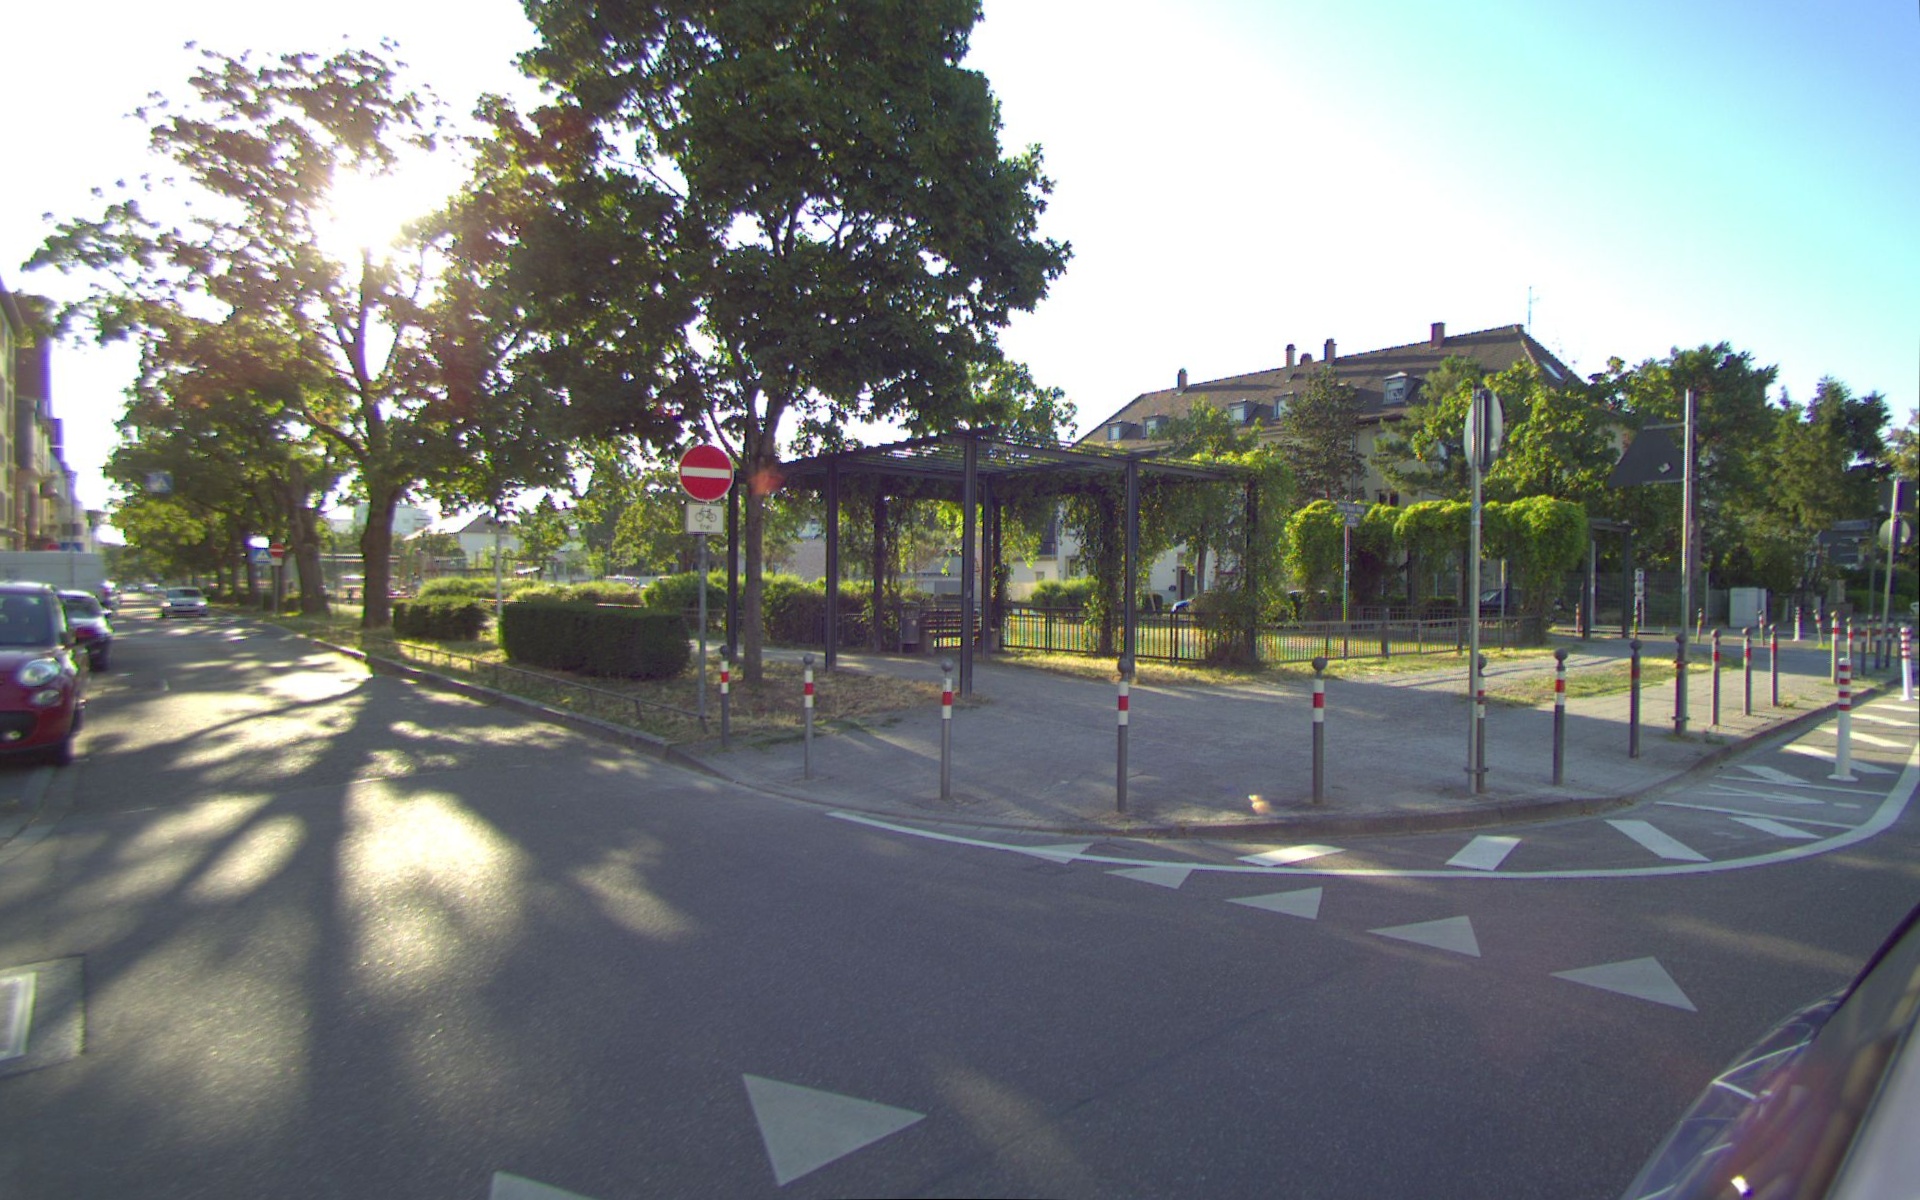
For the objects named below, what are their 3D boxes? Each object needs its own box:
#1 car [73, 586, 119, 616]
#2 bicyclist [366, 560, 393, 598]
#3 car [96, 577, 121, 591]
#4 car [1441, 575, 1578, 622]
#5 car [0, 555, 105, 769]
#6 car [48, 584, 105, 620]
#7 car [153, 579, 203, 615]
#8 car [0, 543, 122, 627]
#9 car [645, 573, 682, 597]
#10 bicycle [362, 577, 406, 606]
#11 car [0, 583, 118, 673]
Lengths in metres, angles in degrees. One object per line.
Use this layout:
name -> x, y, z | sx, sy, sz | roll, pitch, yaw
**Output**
car -> -46.035, 0.043, 53.979 | 1.798, 1.535, 3.750 | -1, 1, -40
bicyclist -> -26.015, -0.922, 45.377 | 0.862, 1.668, 0.848 | 0, 0, 44
car -> -89.806, -1.683, 106.744 | 1.796, 1.535, 3.753 | -1, 1, -36
car -> 20.852, -0.070, 38.524 | 1.791, 1.662, 4.208 | 3, -1, -42
car -> -9.498, 0.482, 9.709 | 1.778, 1.763, 4.084 | 2, -1, -38
car -> -39.459, 0.053, 45.271 | 1.798, 1.535, 3.750 | -1, 1, -40
car -> -38.277, -0.166, 49.508 | 1.751, 1.660, 3.735 | -1, 1, -41
car -> -32.805, -0.495, 34.224 | 2.289, 2.779, 6.644 | 0, 1, 21
car -> -28.138, -1.416, 95.884 | 1.964, 2.150, 3.996 | -1, 1, -39
bicycle -> -25.617, -0.388, 45.004 | 3.099, 1.237, 0.874 | 1, 1, 44
car -> -17.463, 0.469, 19.487 | 1.779, 1.552, 4.084 | 1, 0, -38
